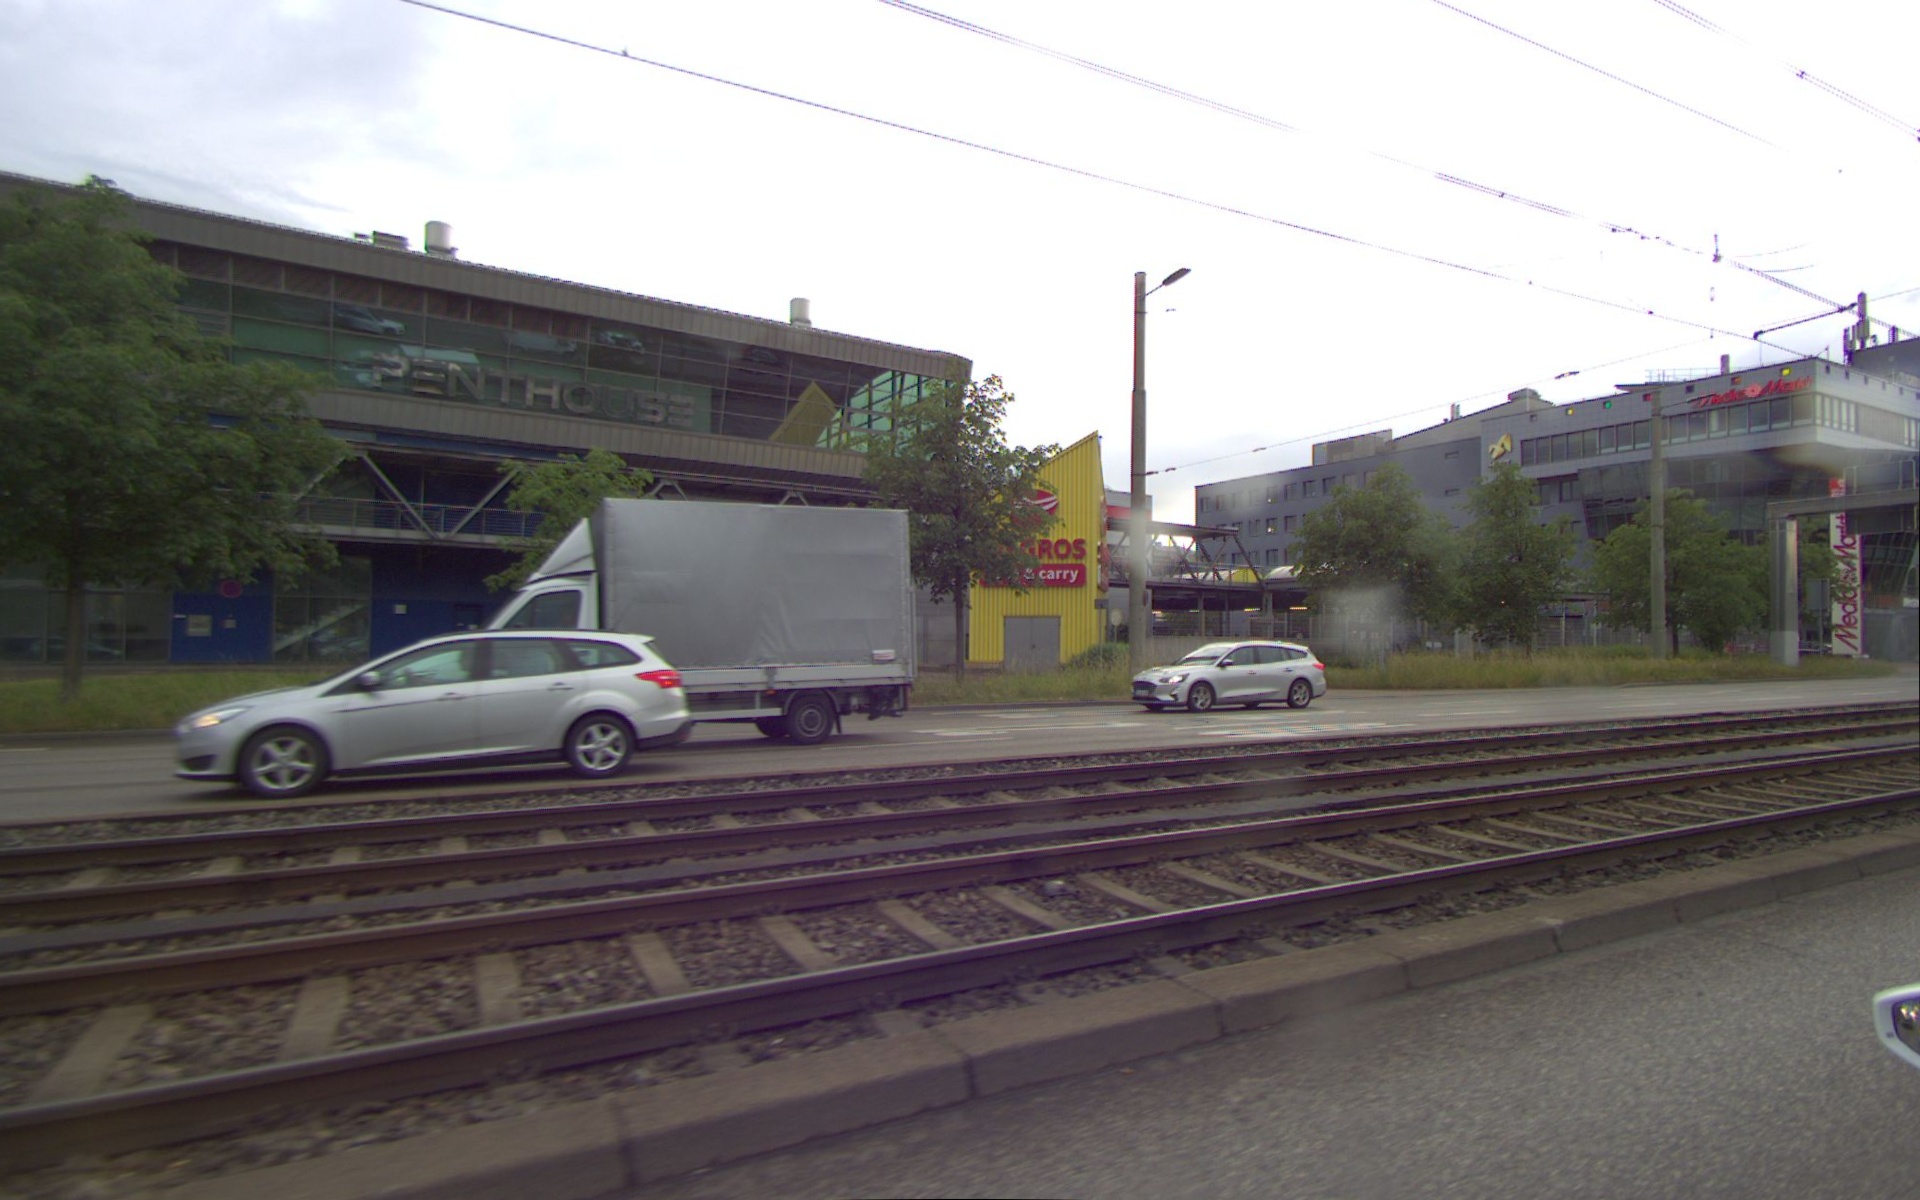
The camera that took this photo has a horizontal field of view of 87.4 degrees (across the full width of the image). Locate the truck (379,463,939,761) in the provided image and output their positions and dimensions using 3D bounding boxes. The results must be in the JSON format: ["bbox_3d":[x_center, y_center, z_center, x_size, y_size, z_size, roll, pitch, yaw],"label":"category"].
[{"bbox_3d":[-4.071,0.262,14.303,7.061,3.401,2.718,1,-4,-27],"label":"truck"}]

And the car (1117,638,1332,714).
[{"bbox_3d":[5.800,1.608,22.005,4.362,1.508,1.893,1,-3,-25],"label":"car"}]

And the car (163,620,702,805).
[{"bbox_3d":[-4.991,1.021,10.084,4.383,1.518,1.800,1,-4,-27],"label":"car"}]

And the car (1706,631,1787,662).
[{"bbox_3d":[53.724,3.149,68.665,1.980,2.040,3.963,1,-2,-34],"label":"car"}]

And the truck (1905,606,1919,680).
[{"bbox_3d":[37.141,1.559,36.277,6.927,2.598,2.230,1,-4,-28],"label":"truck"}]
